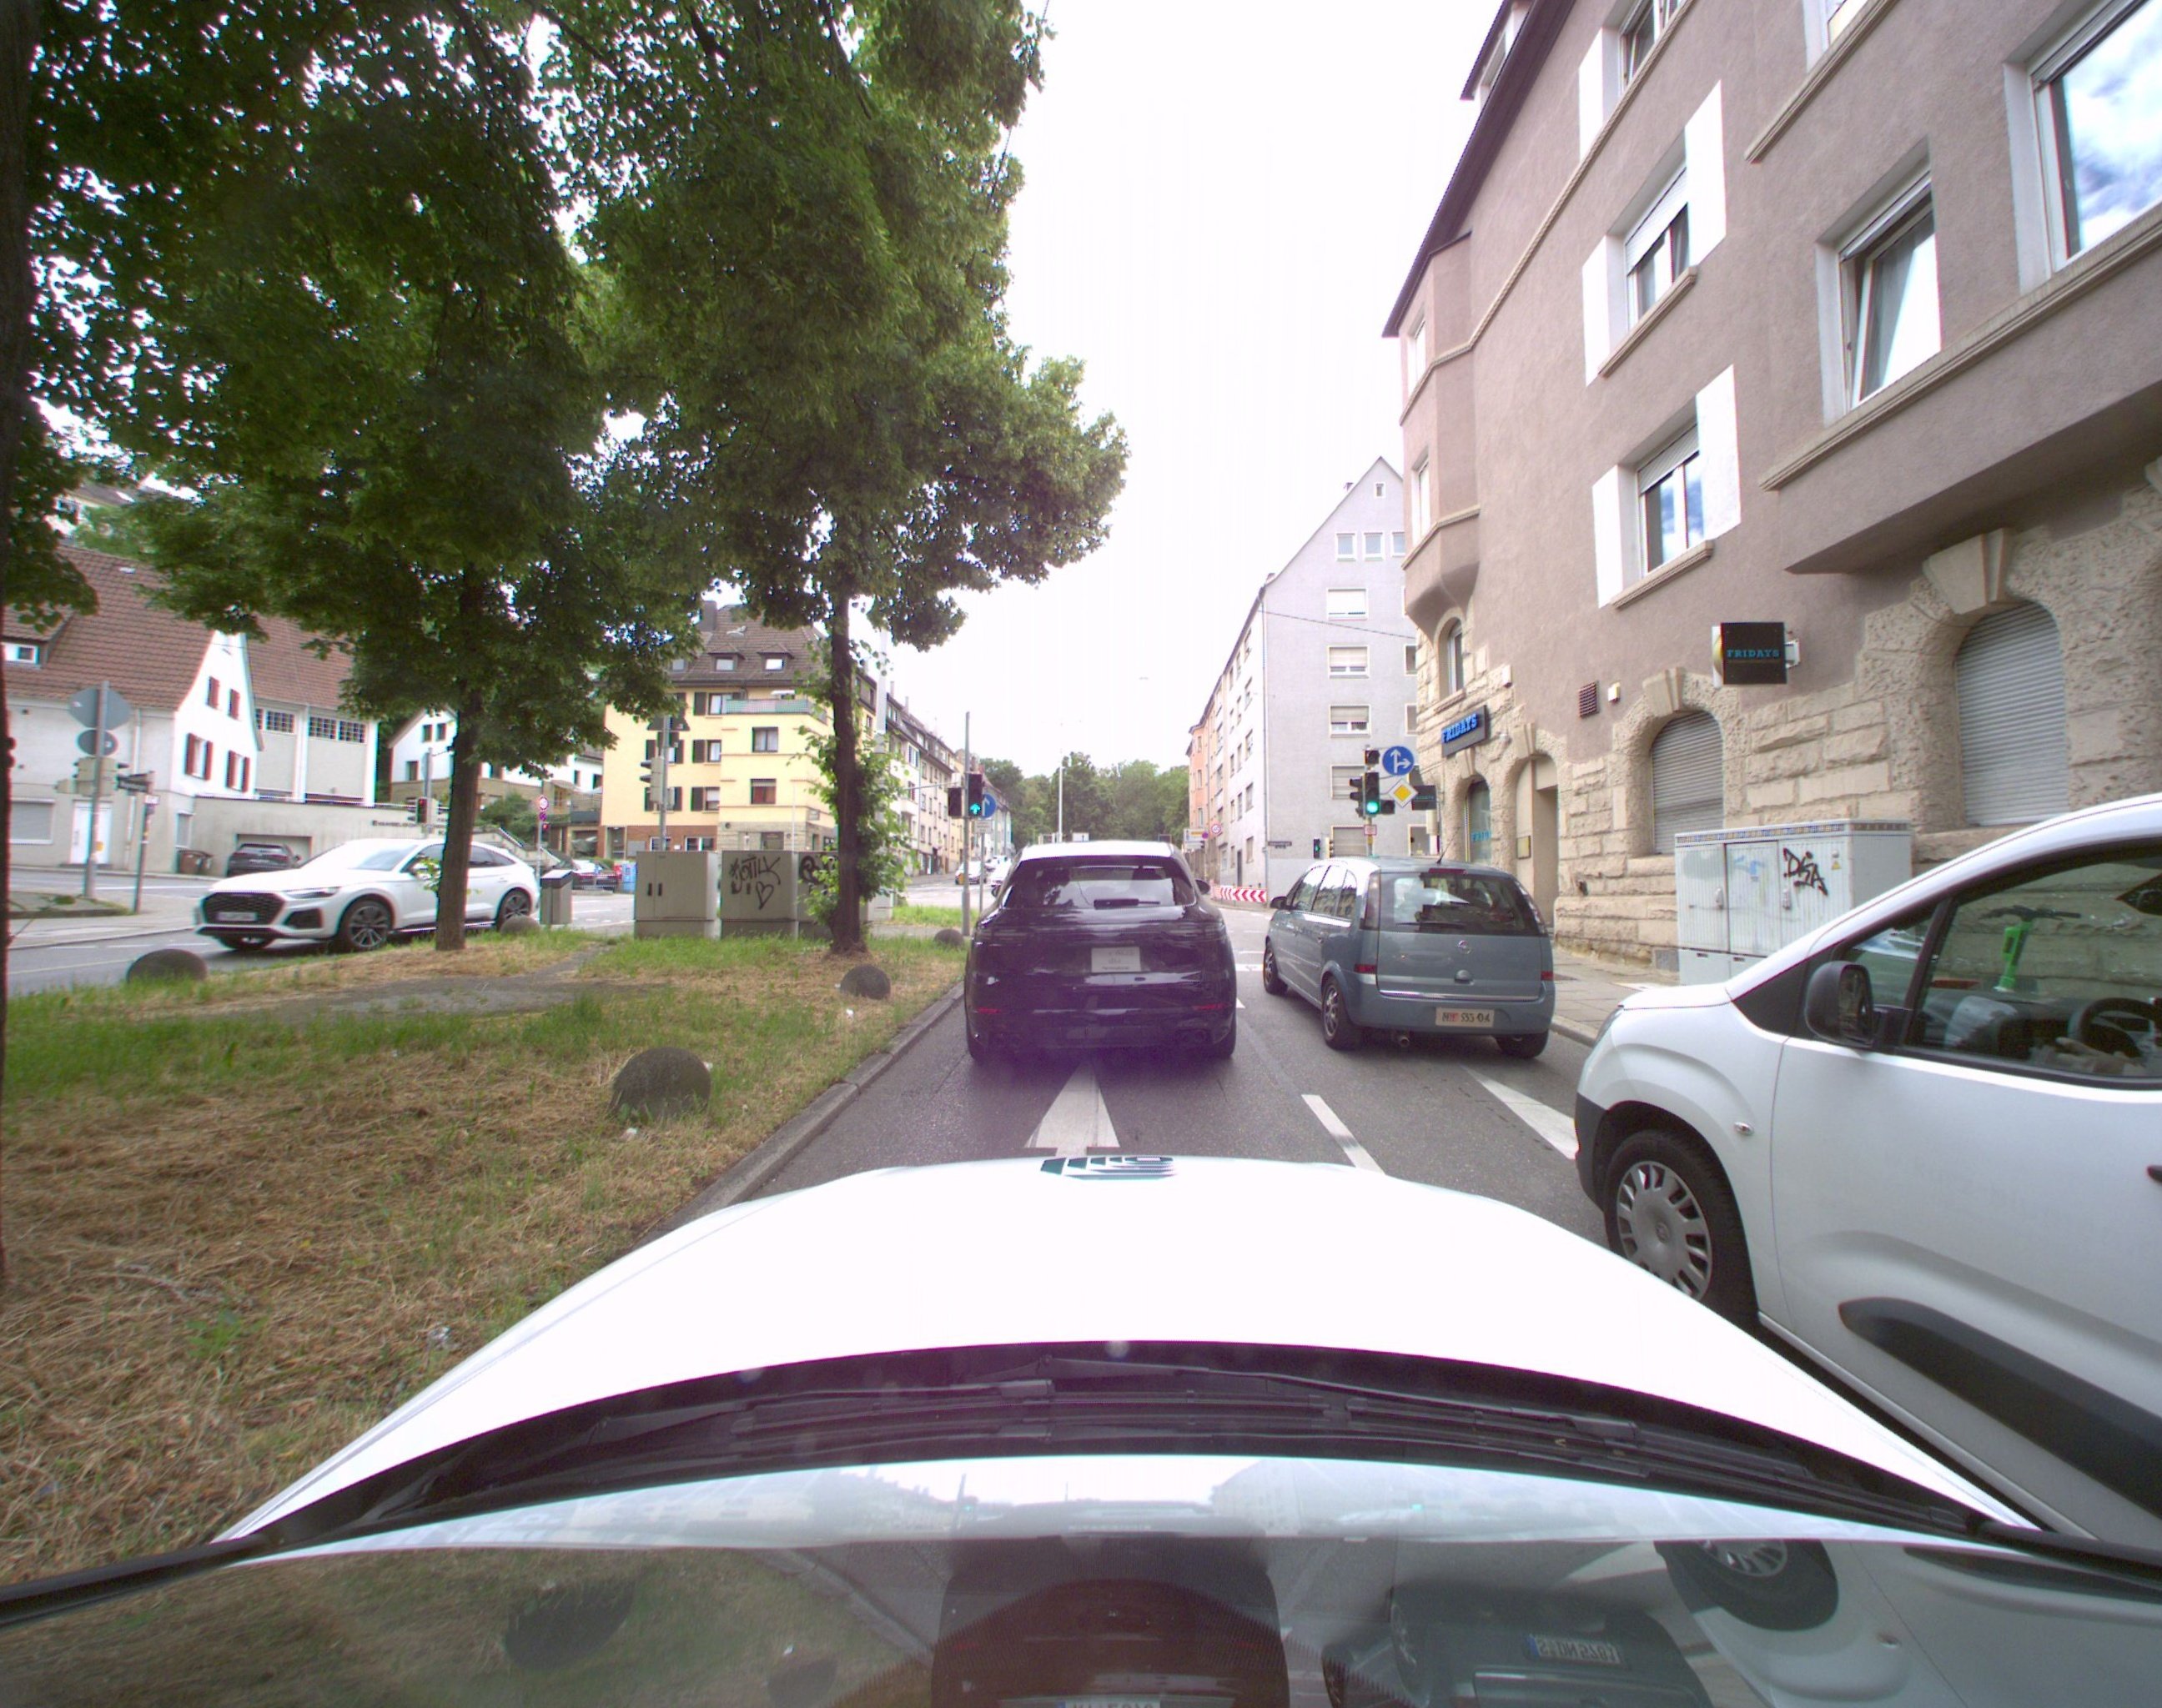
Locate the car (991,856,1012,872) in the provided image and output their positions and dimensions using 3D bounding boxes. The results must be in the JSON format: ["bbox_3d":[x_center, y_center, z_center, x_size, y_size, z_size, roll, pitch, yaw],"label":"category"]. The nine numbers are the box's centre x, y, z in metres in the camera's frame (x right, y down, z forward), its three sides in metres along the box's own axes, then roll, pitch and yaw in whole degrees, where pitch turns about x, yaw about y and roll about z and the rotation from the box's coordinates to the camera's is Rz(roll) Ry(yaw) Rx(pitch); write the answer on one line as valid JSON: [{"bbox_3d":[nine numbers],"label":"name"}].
[{"bbox_3d":[-10.239,1.300,105.085,2.008,2.045,4.669,0,-1,2],"label":"car"}]

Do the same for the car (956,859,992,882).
[{"bbox_3d":[-7.353,1.160,56.195,1.611,1.480,3.828,-1,-2,5],"label":"car"}]

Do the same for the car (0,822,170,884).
[{"bbox_3d":[-28.385,-0.046,22.531,3.720,1.442,1.746,5,-3,-25],"label":"car"}]

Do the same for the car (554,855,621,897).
[{"bbox_3d":[-23.452,1.014,38.654,3.477,1.596,1.881,7,4,44],"label":"car"}]

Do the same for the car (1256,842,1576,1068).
[{"bbox_3d":[2.869,0.755,7.851,1.622,1.598,3.670,3,0,2],"label":"car"}]

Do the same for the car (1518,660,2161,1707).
[{"bbox_3d":[2.827,0.594,1.066,1.969,1.775,4.676,3,0,0],"label":"car"}]

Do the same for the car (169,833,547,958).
[{"bbox_3d":[-11.008,0.514,12.982,1.887,1.627,4.493,0,1,2],"label":"car"}]

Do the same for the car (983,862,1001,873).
[{"bbox_3d":[-10.825,1.630,99.236,1.732,1.387,3.815,0,0,2],"label":"car"}]

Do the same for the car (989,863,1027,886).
[{"bbox_3d":[-4.520,1.249,50.757,1.854,1.388,4.096,0,0,2],"label":"car"}]

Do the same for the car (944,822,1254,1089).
[{"bbox_3d":[0.176,0.664,7.206,1.948,1.674,4.001,-1,-1,2],"label":"car"}]

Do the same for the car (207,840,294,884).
[{"bbox_3d":[-32.229,0.303,31.599,3.018,1.405,1.681,3,-4,33],"label":"car"}]

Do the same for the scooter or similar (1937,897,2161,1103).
[{"bbox_3d":[6.449,0.865,5.200,0.524,1.104,1.424,-1,-1,4],"label":"scooter or similar"}]
